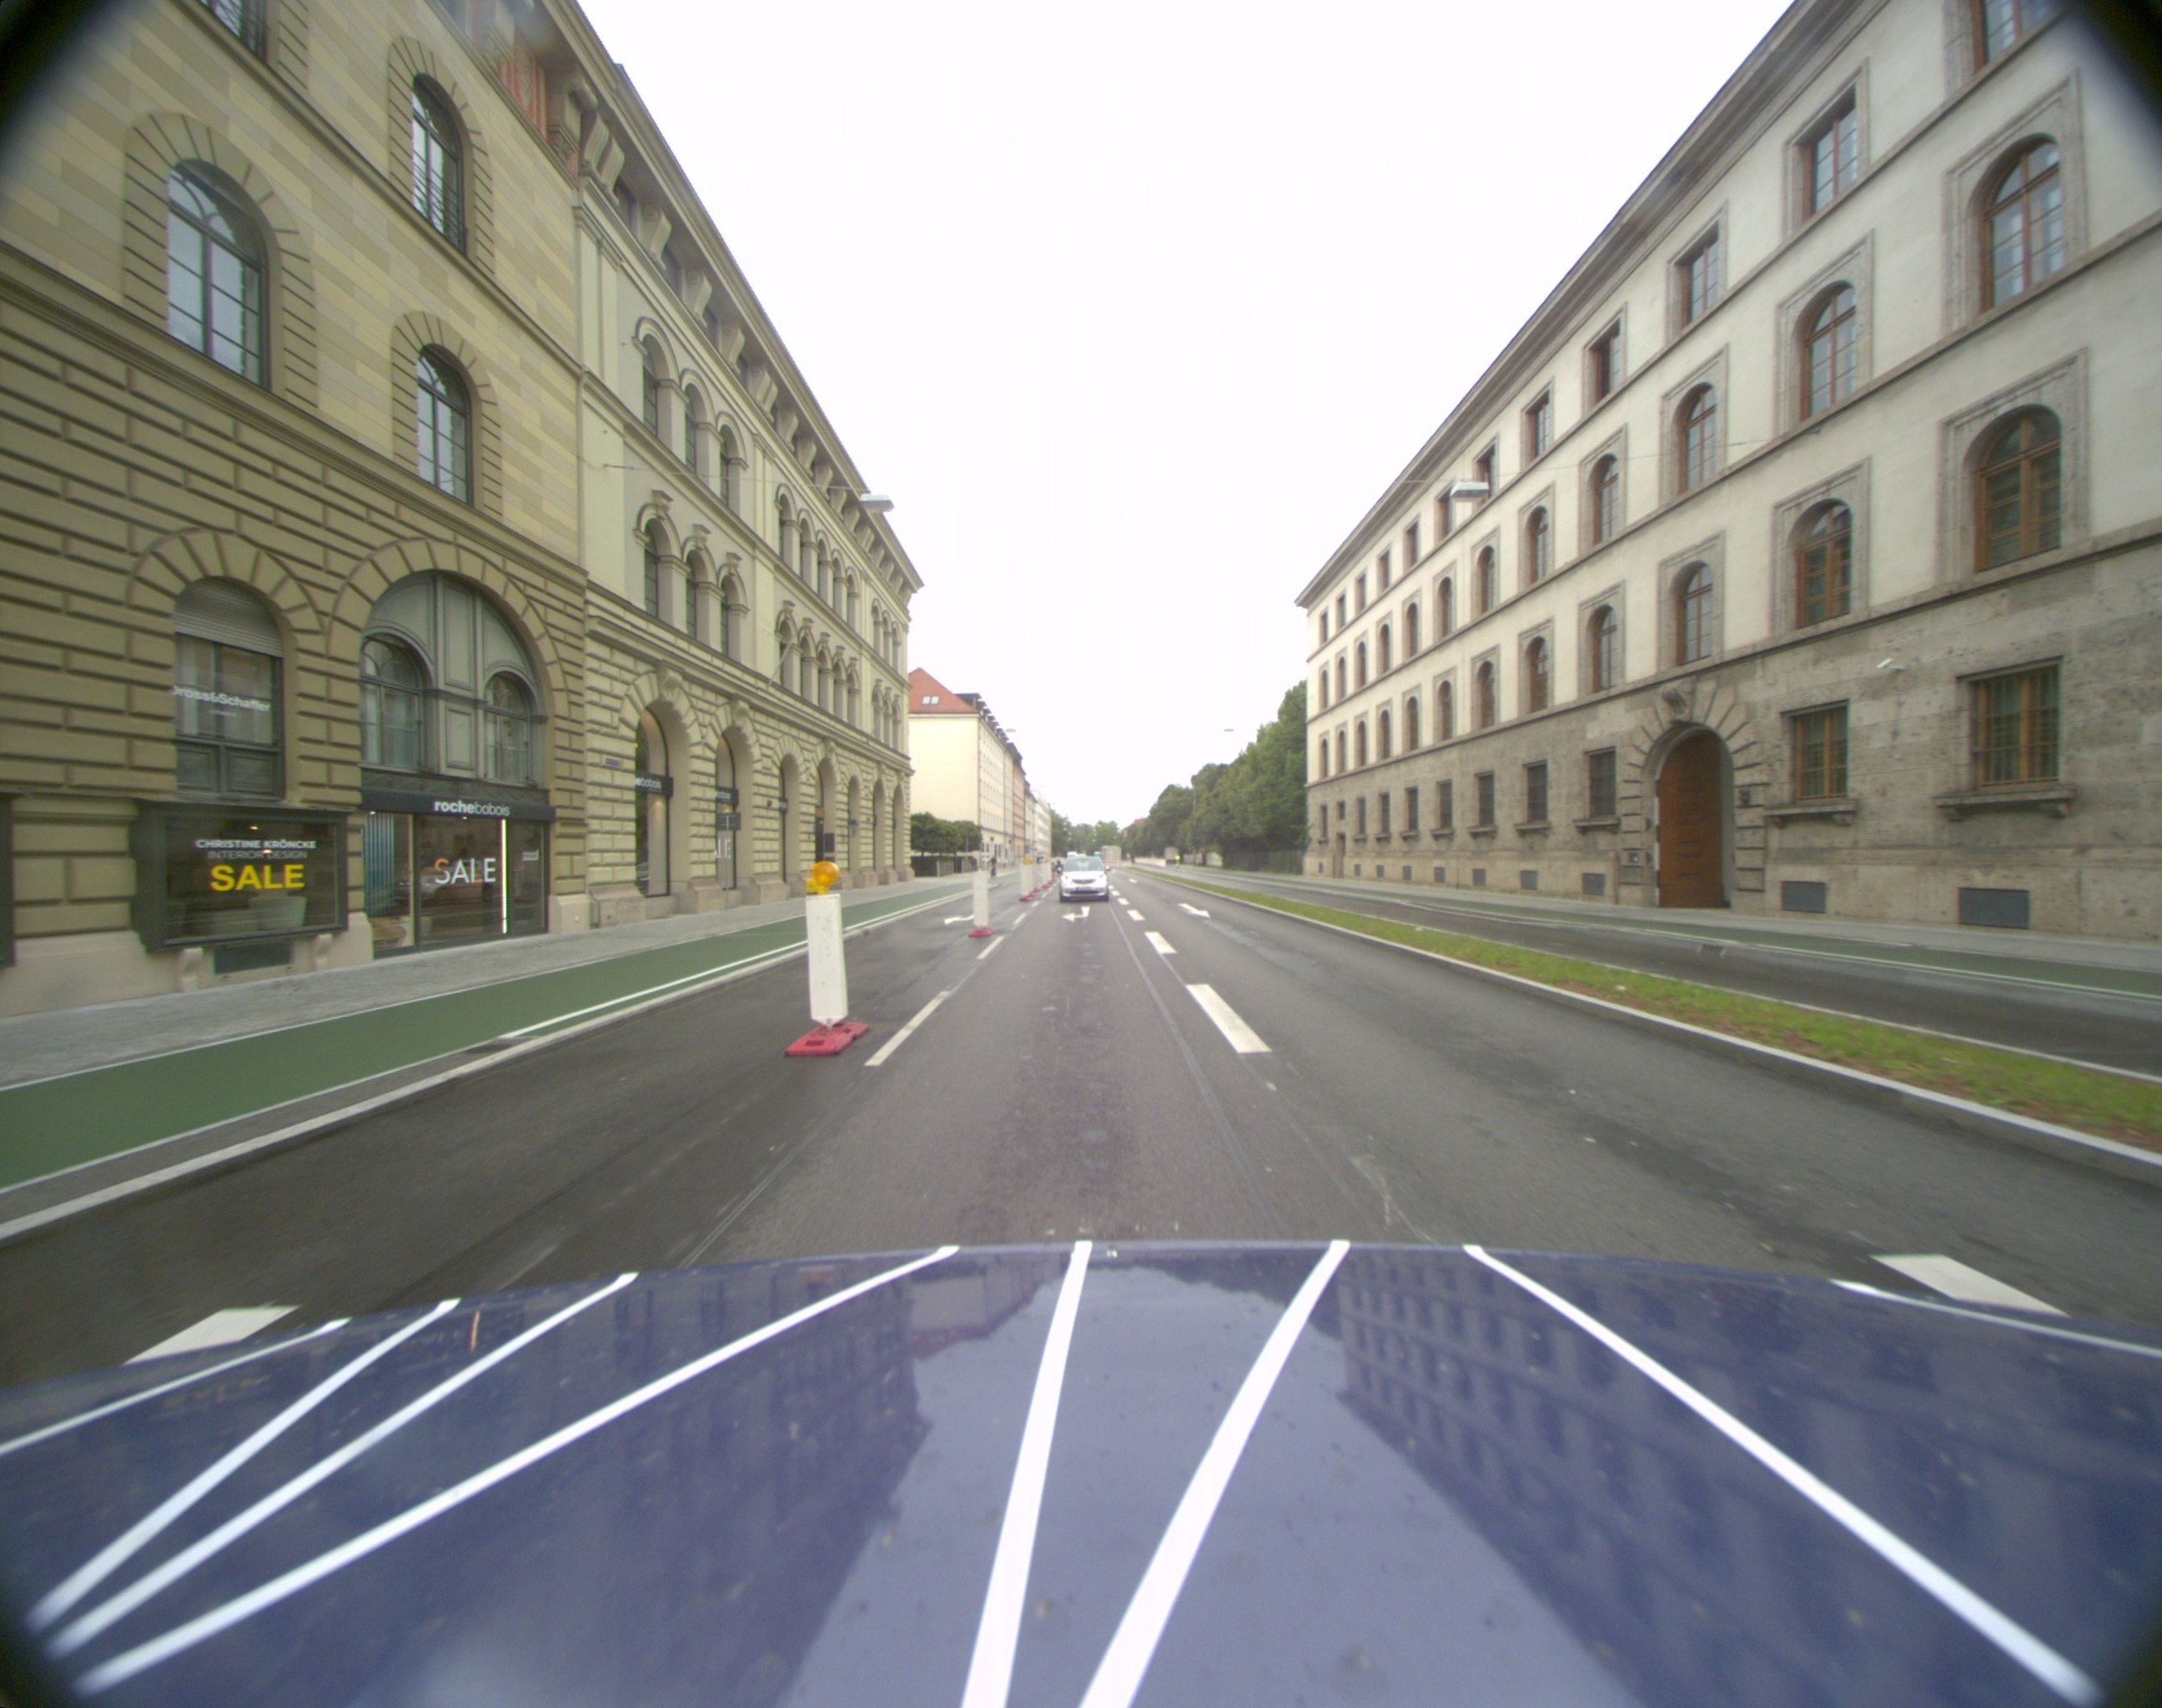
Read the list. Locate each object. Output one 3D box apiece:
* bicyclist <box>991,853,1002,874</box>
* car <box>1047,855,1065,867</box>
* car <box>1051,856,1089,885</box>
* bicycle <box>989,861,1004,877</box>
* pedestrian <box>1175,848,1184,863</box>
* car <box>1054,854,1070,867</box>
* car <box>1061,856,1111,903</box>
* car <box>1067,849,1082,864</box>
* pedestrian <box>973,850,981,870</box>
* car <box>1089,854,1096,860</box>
[{"bbox_3d":[-6.190,0.702,55.714,0.724,1.543,0.858,-2,1,0],"label":"bicyclist"},{"bbox_3d":[-2.776,0.768,84.551,1.739,1.313,4.000,-1,0,0],"label":"car"},{"bbox_3d":[-0.589,0.859,41.676,1.922,1.433,4.306,-2,0,0],"label":"car"},{"bbox_3d":[-6.179,1.087,55.728,0.751,1.026,2.531,-2,0,0],"label":"bicycle"},{"bbox_3d":[13.304,0.268,102.789,0.869,2.002,0.756,-2,1,-31],"label":"pedestrian"},{"bbox_3d":[-2.253,0.793,89.653,1.739,1.425,4.000,-1,0,0],"label":"car"},{"bbox_3d":[0.180,0.851,27.060,1.633,1.494,4.000,-1,0,0],"label":"car"},{"bbox_3d":[-0.878,0.328,106.645,1.998,2.002,4.000,0,0,1],"label":"car"},{"bbox_3d":[-9.739,0.558,71.178,0.655,1.863,0.826,1,1,0],"label":"pedestrian"},{"bbox_3d":[2.652,0.621,175.781,1.739,1.425,4.000,-1,0,0],"label":"car"}]
